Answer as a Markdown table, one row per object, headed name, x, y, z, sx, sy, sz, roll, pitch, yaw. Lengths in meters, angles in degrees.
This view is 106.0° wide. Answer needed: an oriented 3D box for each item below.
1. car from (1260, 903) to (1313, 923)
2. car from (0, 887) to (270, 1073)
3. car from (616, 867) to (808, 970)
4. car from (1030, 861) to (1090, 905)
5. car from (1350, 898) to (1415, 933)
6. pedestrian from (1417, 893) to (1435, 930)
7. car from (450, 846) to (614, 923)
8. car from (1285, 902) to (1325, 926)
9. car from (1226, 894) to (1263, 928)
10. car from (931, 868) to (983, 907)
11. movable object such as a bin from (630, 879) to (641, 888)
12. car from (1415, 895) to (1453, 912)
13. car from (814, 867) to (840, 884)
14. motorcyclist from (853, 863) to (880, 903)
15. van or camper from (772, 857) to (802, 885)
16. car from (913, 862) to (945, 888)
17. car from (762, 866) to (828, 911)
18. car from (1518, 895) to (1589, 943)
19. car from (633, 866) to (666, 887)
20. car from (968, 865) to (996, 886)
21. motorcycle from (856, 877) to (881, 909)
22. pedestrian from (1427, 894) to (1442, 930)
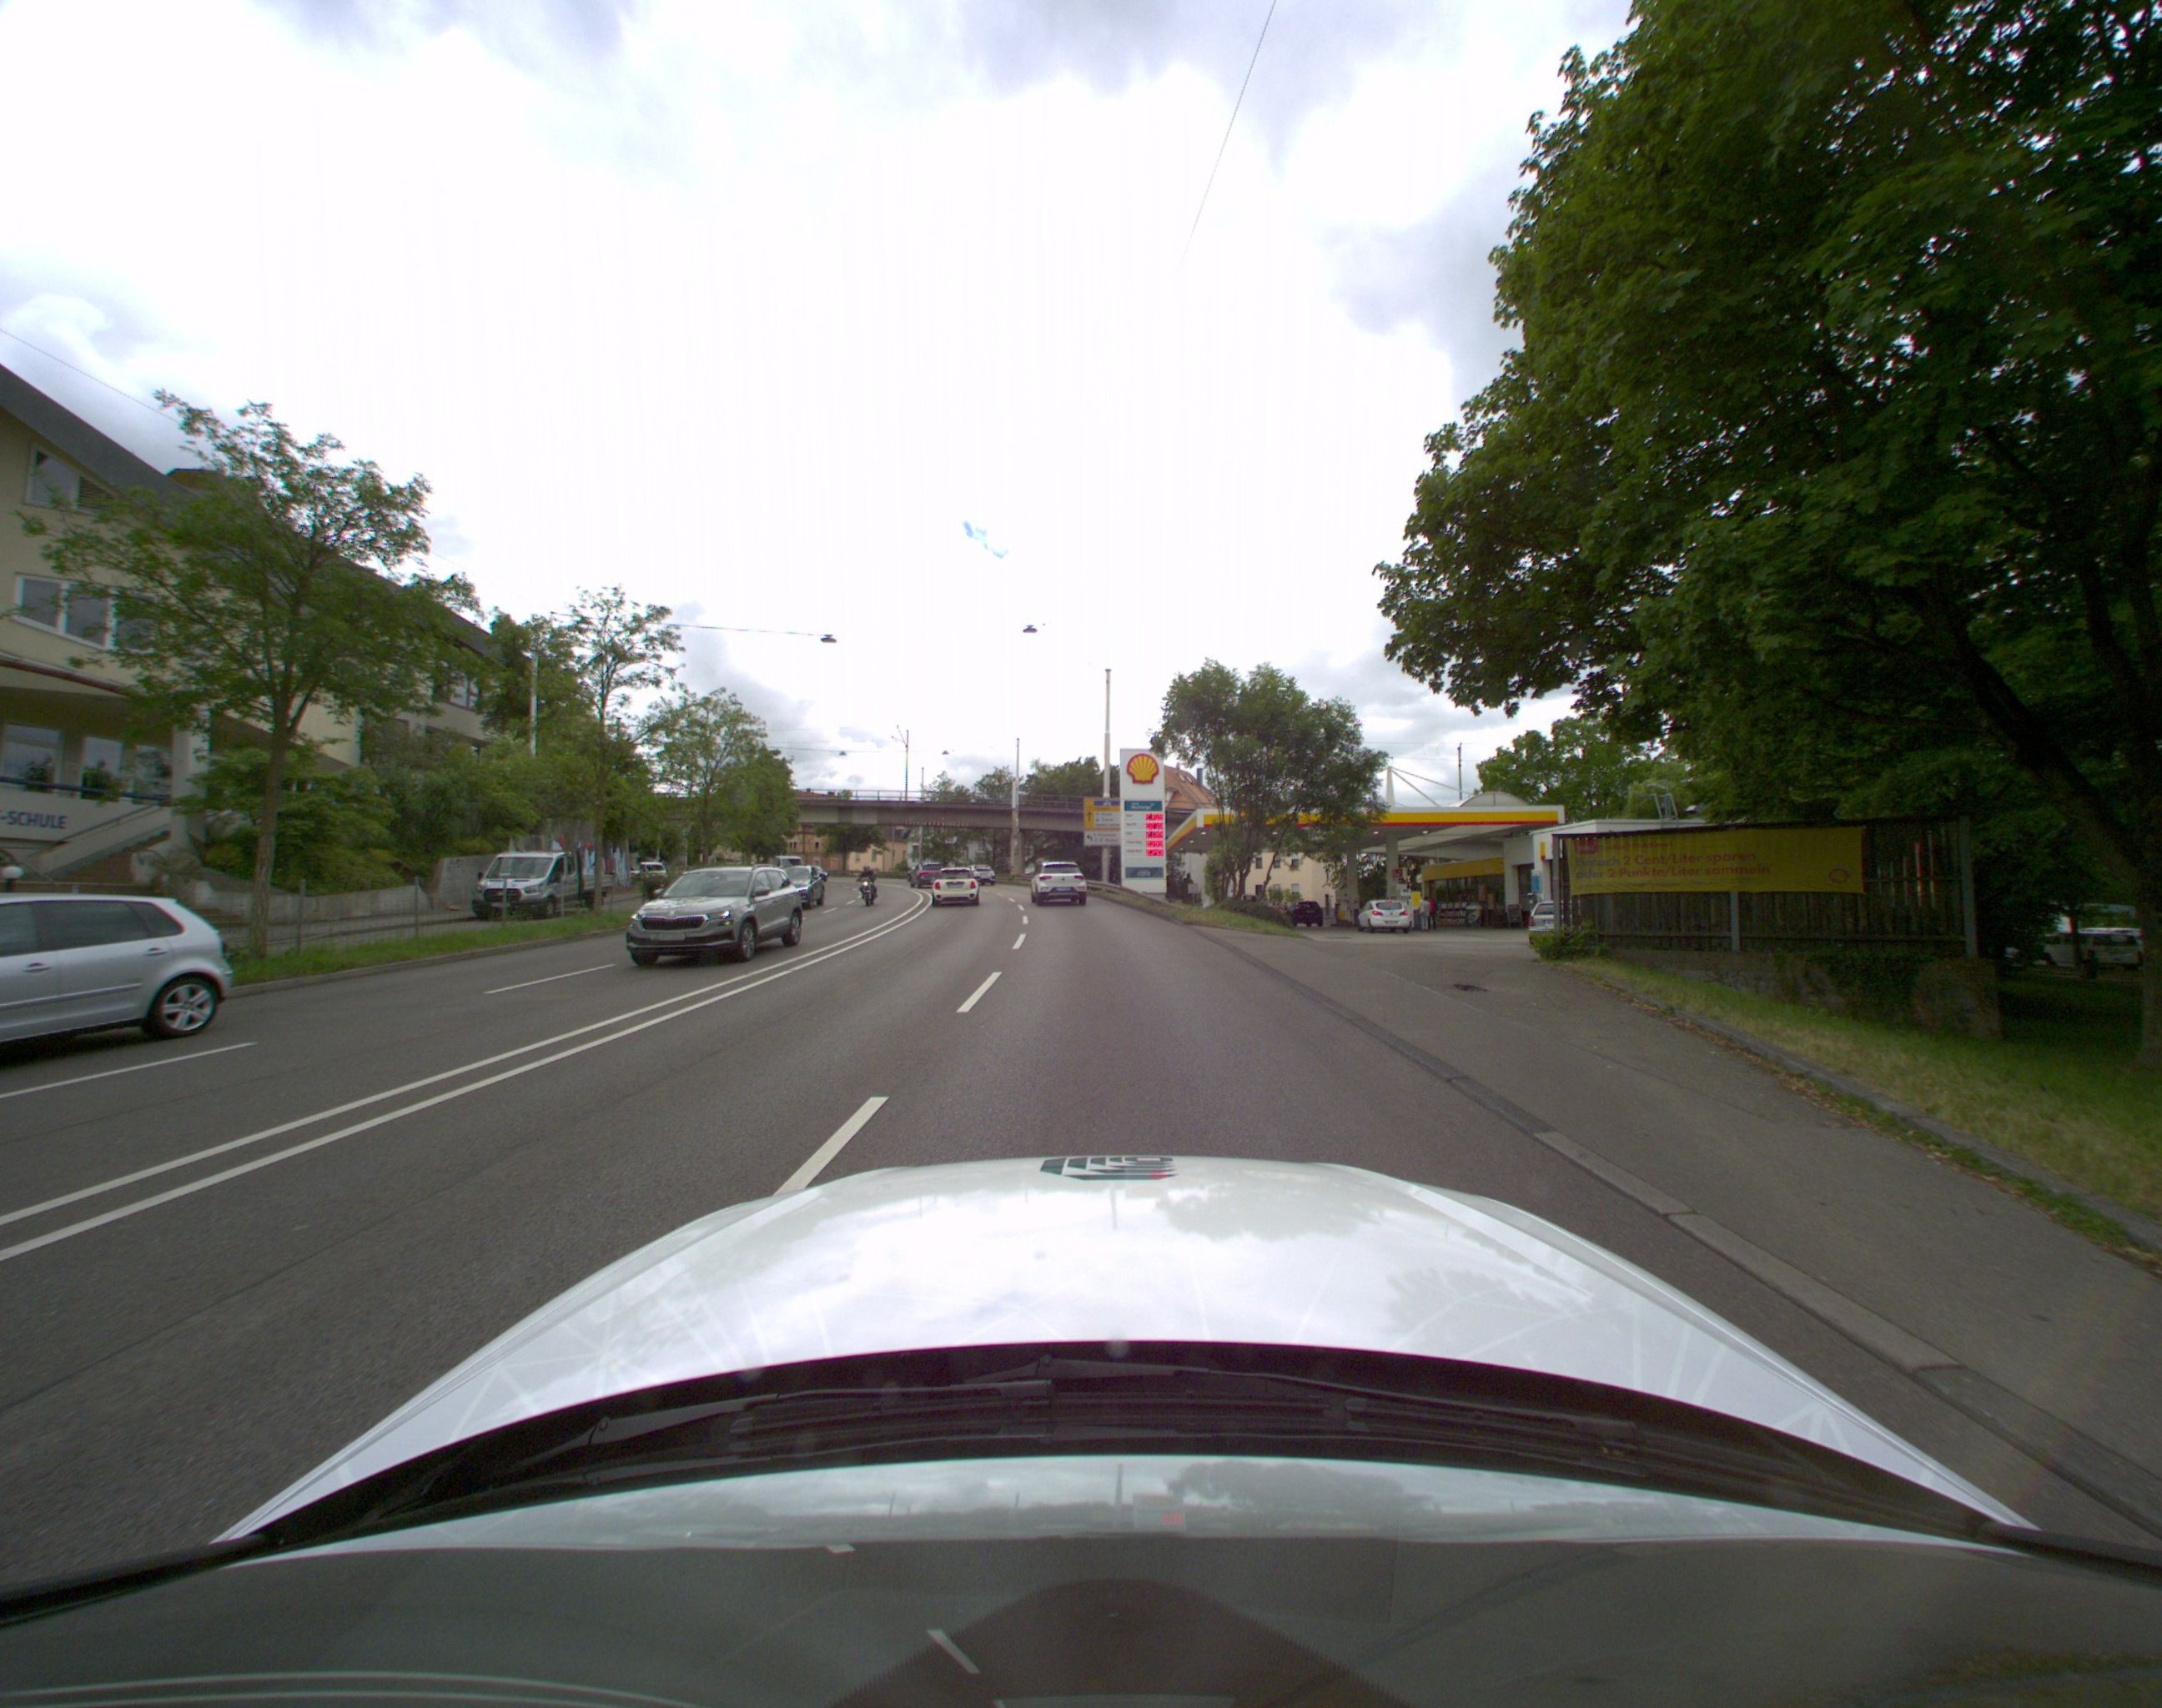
| name | x | y | z | sx | sy | sz | roll | pitch | yaw |
| --- | --- | --- | --- | --- | --- | --- | --- | --- | --- |
| car | 18.605 | 5.310 | 73.760 | 4.249 | 1.522 | 1.634 | 1 | -4 | 29 |
| car | -9.474 | 1.048 | 6.778 | 1.561 | 1.431 | 3.888 | 0 | -1 | -1 |
| car | -6.377 | 1.023 | 14.612 | 1.781 | 1.539 | 4.070 | -1 | -1 | -4 |
| car | -0.838 | 1.035 | 29.900 | 1.796 | 1.519 | 3.446 | 0 | -1 | -9 |
| car | 13.689 | 2.816 | 37.207 | 1.728 | 1.486 | 3.880 | -1 | -4 | 4 |
| pedestrian | 16.201 | 2.717 | 38.274 | 0.541 | 1.705 | 0.609 | 0 | -2 | -4 |
| car | -18.297 | 0.967 | 27.624 | 2.268 | 2.273 | 6.303 | -1 | -1 | -11 |
| car | 14.411 | 3.871 | 52.650 | 1.728 | 1.486 | 3.880 | -1 | -4 | 4 |
| car | 10.377 | 3.649 | 52.029 | 1.728 | 2.011 | 4.716 | -1 | -4 | 4 |
| car | -4.646 | 1.215 | 30.801 | 1.720 | 1.376 | 3.450 | 0 | -1 | -5 |
| movable object such as a bin | -33.921 | 2.221 | 61.995 | 0.574 | 0.641 | 0.562 | 2 | -3 | 41 |
| car | 33.762 | 4.703 | 77.877 | 3.598 | 1.350 | 1.585 | 7 | -5 | -32 |
| car | -23.488 | 1.960 | 75.220 | 1.744 | 1.414 | 4.392 | -1 | 0 | -25 |
| motorcyclist | -8.431 | 1.130 | 32.015 | 0.758 | 1.485 | 0.960 | -3 | -1 | -2 |
| van or camper | -25.433 | 1.457 | 70.371 | 2.018 | 2.261 | 5.914 | -1 | -1 | -24 |
| car | -9.836 | 1.347 | 52.527 | 1.726 | 1.640 | 3.438 | 1 | -1 | -15 |
| car | -11.084 | 1.291 | 31.825 | 1.786 | 1.575 | 4.450 | -1 | -1 | -12 |
| car | 15.567 | 2.088 | 26.723 | 1.581 | 1.432 | 4.320 | -4 | -5 | 35 |
| car | -38.845 | 2.007 | 73.263 | 1.781 | 1.785 | 4.413 | -1 | 0 | -40 |
| car | -6.875 | 1.438 | 56.325 | 1.677 | 1.409 | 3.442 | 0 | -1 | -12 |
| motorcycle | -8.326 | 1.508 | 31.998 | 0.482 | 1.056 | 2.265 | -3 | 3 | -5 |
| pedestrian | 16.883 | 2.779 | 38.881 | 0.491 | 1.705 | 0.431 | 0 | -2 | -7 |
